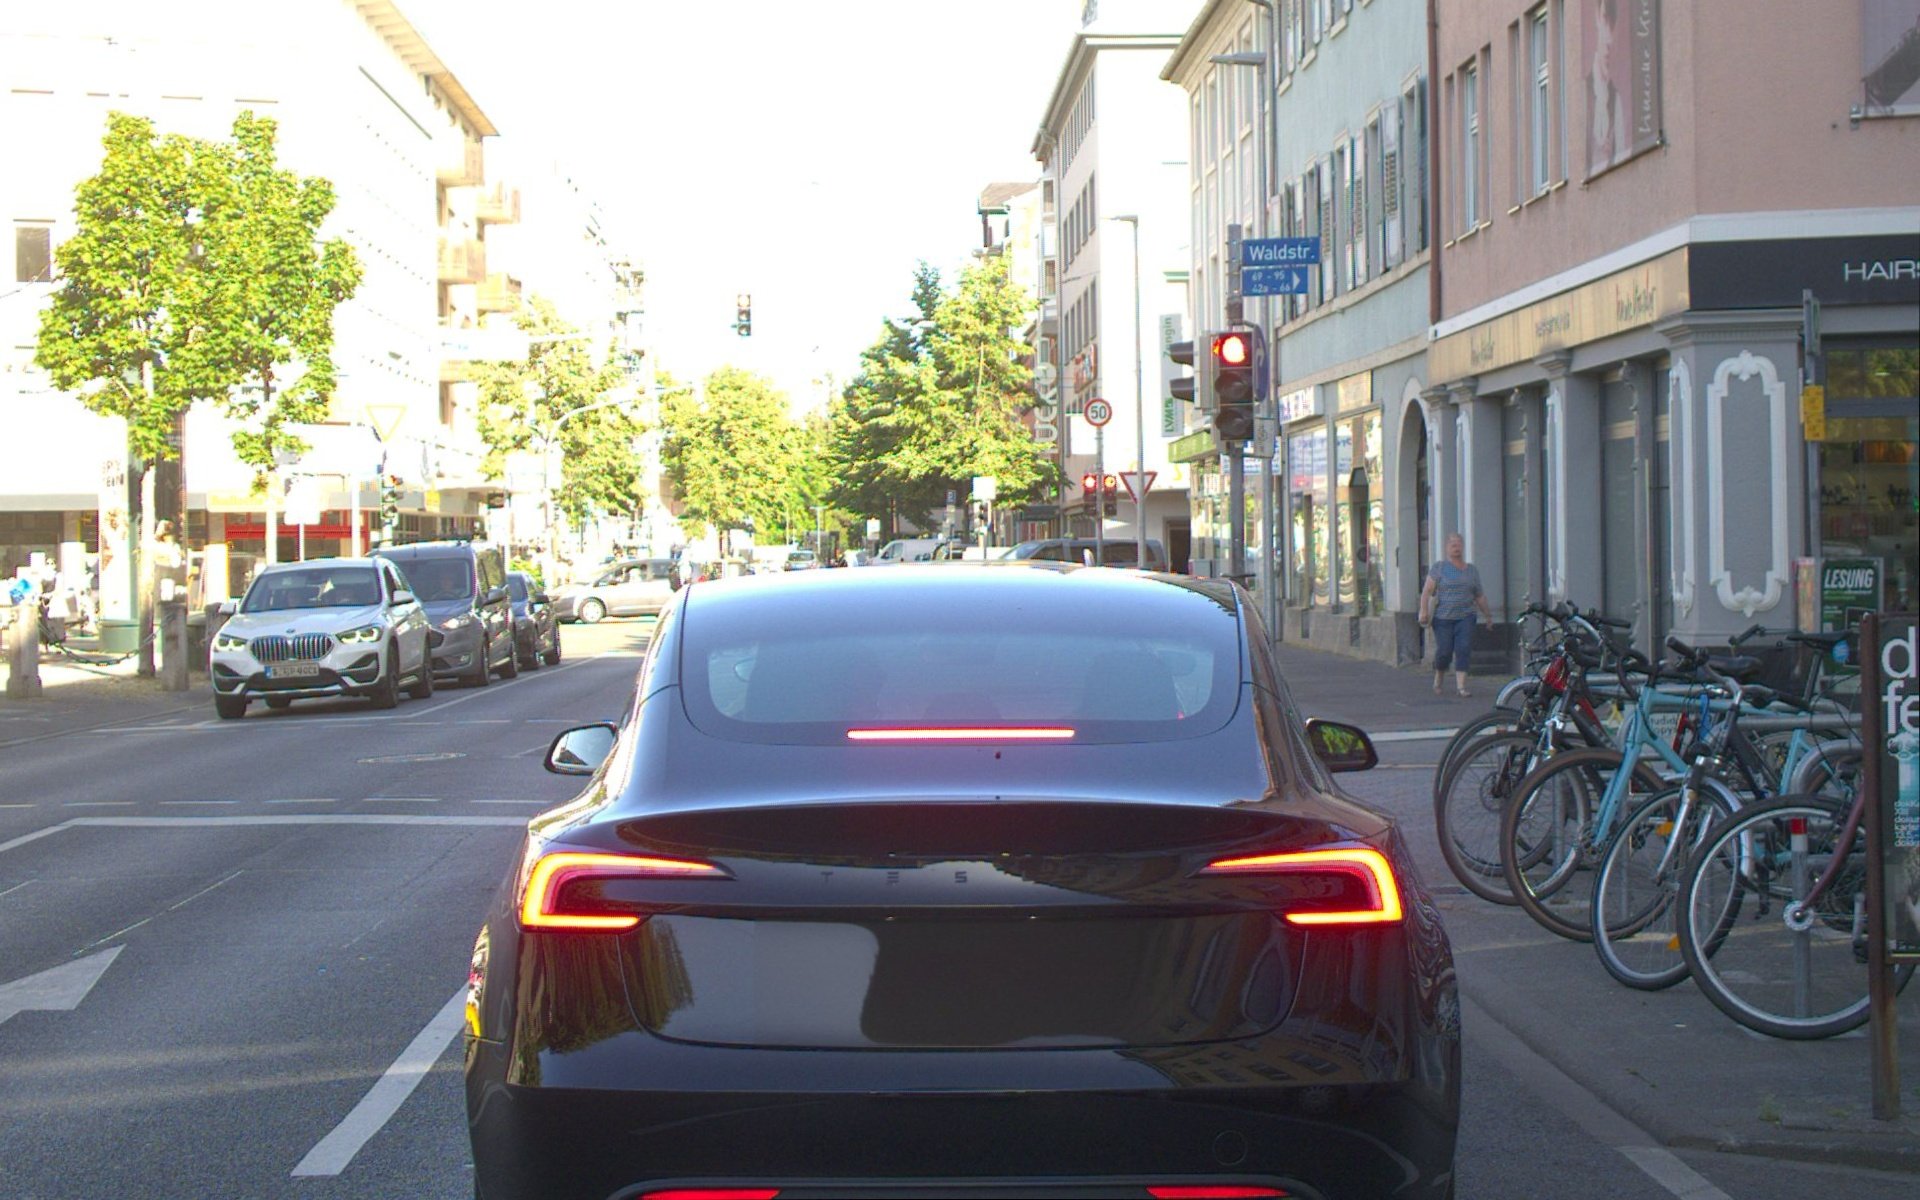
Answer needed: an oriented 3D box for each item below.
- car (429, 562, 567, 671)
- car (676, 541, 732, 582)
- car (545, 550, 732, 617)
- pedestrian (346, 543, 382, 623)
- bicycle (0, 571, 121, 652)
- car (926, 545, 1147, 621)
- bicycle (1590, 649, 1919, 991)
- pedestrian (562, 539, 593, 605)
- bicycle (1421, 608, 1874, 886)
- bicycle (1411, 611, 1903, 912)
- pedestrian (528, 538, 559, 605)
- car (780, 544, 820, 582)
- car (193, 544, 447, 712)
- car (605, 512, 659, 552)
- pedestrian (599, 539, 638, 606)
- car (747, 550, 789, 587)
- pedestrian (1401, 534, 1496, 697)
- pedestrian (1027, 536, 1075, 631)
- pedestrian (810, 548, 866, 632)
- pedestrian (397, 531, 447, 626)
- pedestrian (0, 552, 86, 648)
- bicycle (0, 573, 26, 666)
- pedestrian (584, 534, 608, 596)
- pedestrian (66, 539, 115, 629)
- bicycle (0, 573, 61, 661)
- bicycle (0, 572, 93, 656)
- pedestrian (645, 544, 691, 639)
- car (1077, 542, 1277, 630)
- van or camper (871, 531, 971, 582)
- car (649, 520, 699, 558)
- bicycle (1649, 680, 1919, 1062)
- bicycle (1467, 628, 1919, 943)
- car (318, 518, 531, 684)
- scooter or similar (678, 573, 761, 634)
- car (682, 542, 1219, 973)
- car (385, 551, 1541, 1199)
[{"bbox_3d":[-6.652,0.211,49.793,1.461,1.425,3.606,-4,1,-1],"label":"car"},{"bbox_3d":[-12.390,-1.861,166.448,2.414,1.963,4.678,0,1,-1],"label":"car"},{"bbox_3d":[-7.559,-0.402,80.926,4.119,1.525,1.552,0,1,-21],"label":"car"},{"bbox_3d":[-11.359,-0.324,65.534,0.624,1.518,0.579,1,0,-13],"label":"pedestrian"},{"bbox_3d":[-14.692,0.170,54.561,2.542,1.247,0.943,1,0,-3],"label":"bicycle"},{"bbox_3d":[1.915,-0.442,85.811,5.195,1.860,1.884,0,1,-22],"label":"car"},{"bbox_3d":[3.002,0.696,11.118,1.813,1.056,0.653,0,1,1],"label":"bicycle"},{"bbox_3d":[-10.811,-0.792,97.167,0.732,1.861,0.791,1,0,-17],"label":"pedestrian"},{"bbox_3d":[2.924,0.616,14.733,1.813,1.148,0.653,0,1,1],"label":"bicycle"},{"bbox_3d":[2.733,0.624,13.598,1.813,1.148,0.653,0,1,1],"label":"bicycle"},{"bbox_3d":[-11.738,-0.802,96.927,0.732,1.861,0.791,1,0,-17],"label":"pedestrian"},{"bbox_3d":[-7.830,-1.798,168.244,1.892,1.807,3.925,1,1,-2],"label":"car"},{"bbox_3d":[-6.685,0.260,36.336,1.825,1.559,4.301,-4,1,-1],"label":"car"},{"bbox_3d":[-17.120,-3.526,179.638,2.275,2.007,4.717,1,1,1],"label":"car"},{"bbox_3d":[-9.549,-0.764,96.168,0.734,1.861,0.789,1,0,28],"label":"pedestrian"},{"bbox_3d":[-10.437,-1.731,187.131,2.132,1.963,4.134,0,1,-1],"label":"car"},{"bbox_3d":[4.704,0.142,33.145,0.789,1.544,0.724,1,0,0],"label":"pedestrian"},{"bbox_3d":[1.811,-0.323,68.495,0.708,1.870,0.808,1,0,20],"label":"pedestrian"},{"bbox_3d":[-2.367,-0.200,66.561,0.806,1.604,0.709,0,1,-37],"label":"pedestrian"},{"bbox_3d":[-10.031,-0.397,64.102,0.844,1.754,0.707,1,0,-14],"label":"pedestrian"},{"bbox_3d":[-15.535,-0.002,58.213,1.092,1.606,1.266,1,1,-30],"label":"pedestrian"},{"bbox_3d":[-14.484,0.242,47.543,2.875,1.266,0.943,1,0,-3],"label":"bicycle"},{"bbox_3d":[-10.992,-1.066,103.875,0.695,1.861,0.659,1,0,-5],"label":"pedestrian"},{"bbox_3d":[-19.587,-0.361,77.454,0.922,2.007,0.859,1,0,-24],"label":"pedestrian"},{"bbox_3d":[-14.486,0.224,49.862,2.662,1.255,0.943,1,0,-3],"label":"bicycle"},{"bbox_3d":[-14.531,0.196,52.137,2.542,1.247,0.943,1,0,-3],"label":"bicycle"},{"bbox_3d":[-5.416,-0.160,63.773,0.658,1.754,0.654,1,0,-24],"label":"pedestrian"},{"bbox_3d":[4.712,-0.318,74.671,3.992,1.861,1.698,0,1,-21],"label":"car"},{"bbox_3d":[-1.895,-2.124,167.545,4.850,2.430,1.851,0,1,-1],"label":"van or camper"},{"bbox_3d":[-15.643,-3.346,188.278,2.275,2.007,4.717,1,1,1],"label":"car"},{"bbox_3d":[3.028,0.763,10.046,1.882,1.040,0.653,-1,1,1],"label":"bicycle"},{"bbox_3d":[2.802,0.660,12.525,1.813,1.098,0.653,0,1,1],"label":"bicycle"},{"bbox_3d":[-6.570,-0.030,42.660,1.945,1.940,4.820,0,1,-1],"label":"car"},{"bbox_3d":[-4.501,0.066,64.205,1.333,1.131,0.810,1,0,-24],"label":"scooter or similar"},{"bbox_3d":[-0.058,0.528,14.194,1.850,1.476,4.452,1,1,-1],"label":"car"},{"bbox_3d":[-0.022,0.632,7.770,1.850,1.442,4.452,1,1,-1],"label":"car"}]
